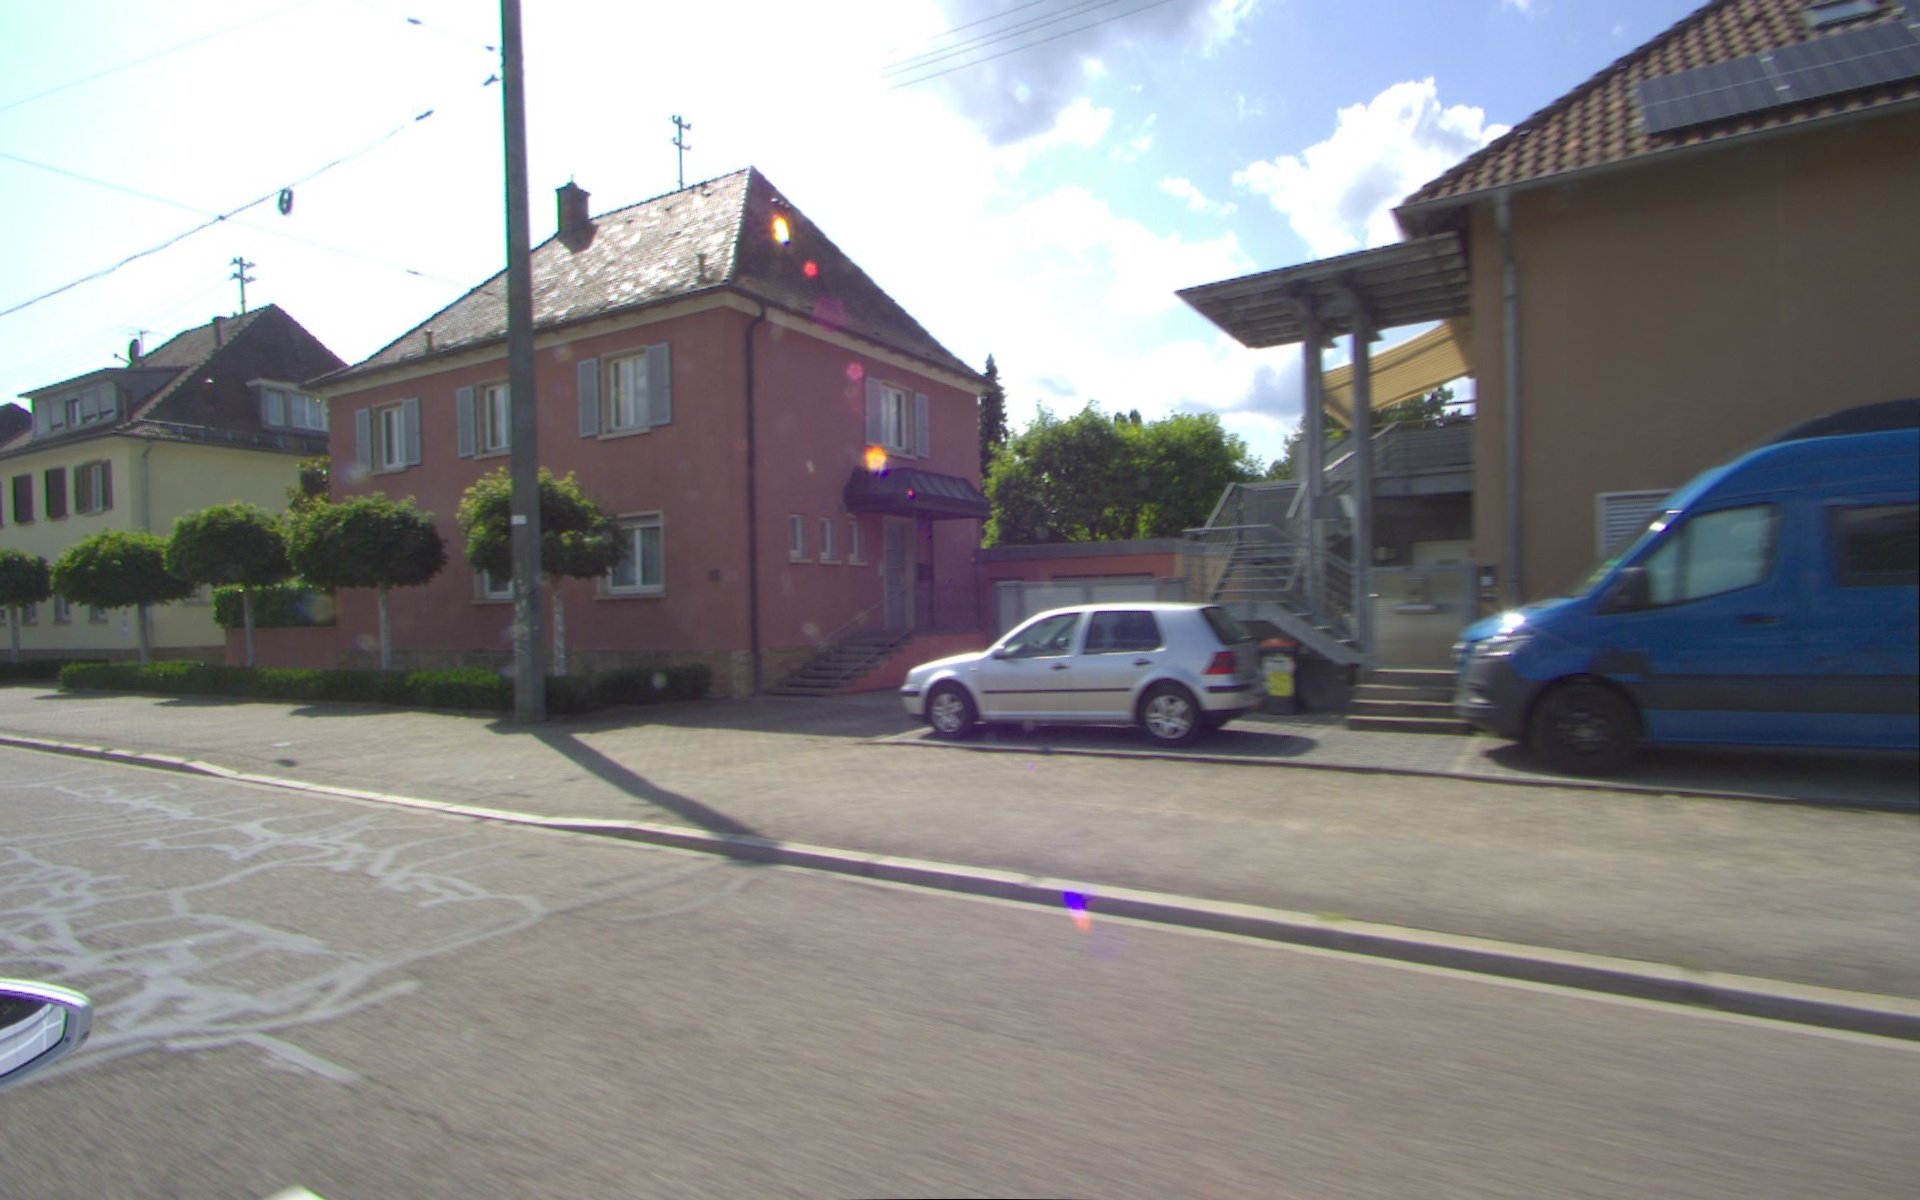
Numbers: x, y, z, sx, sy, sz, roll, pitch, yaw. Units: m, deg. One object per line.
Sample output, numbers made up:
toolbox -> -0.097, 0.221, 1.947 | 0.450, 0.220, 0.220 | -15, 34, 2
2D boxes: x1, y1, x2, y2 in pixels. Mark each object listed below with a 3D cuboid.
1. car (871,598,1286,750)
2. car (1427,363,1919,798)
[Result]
car -> 1.261, 0.754, 11.141 | 4.284, 1.427, 1.647 | -2, 0, 28
car -> 7.128, -0.103, 7.716 | 6.157, 2.967, 2.147 | -2, -2, 33
